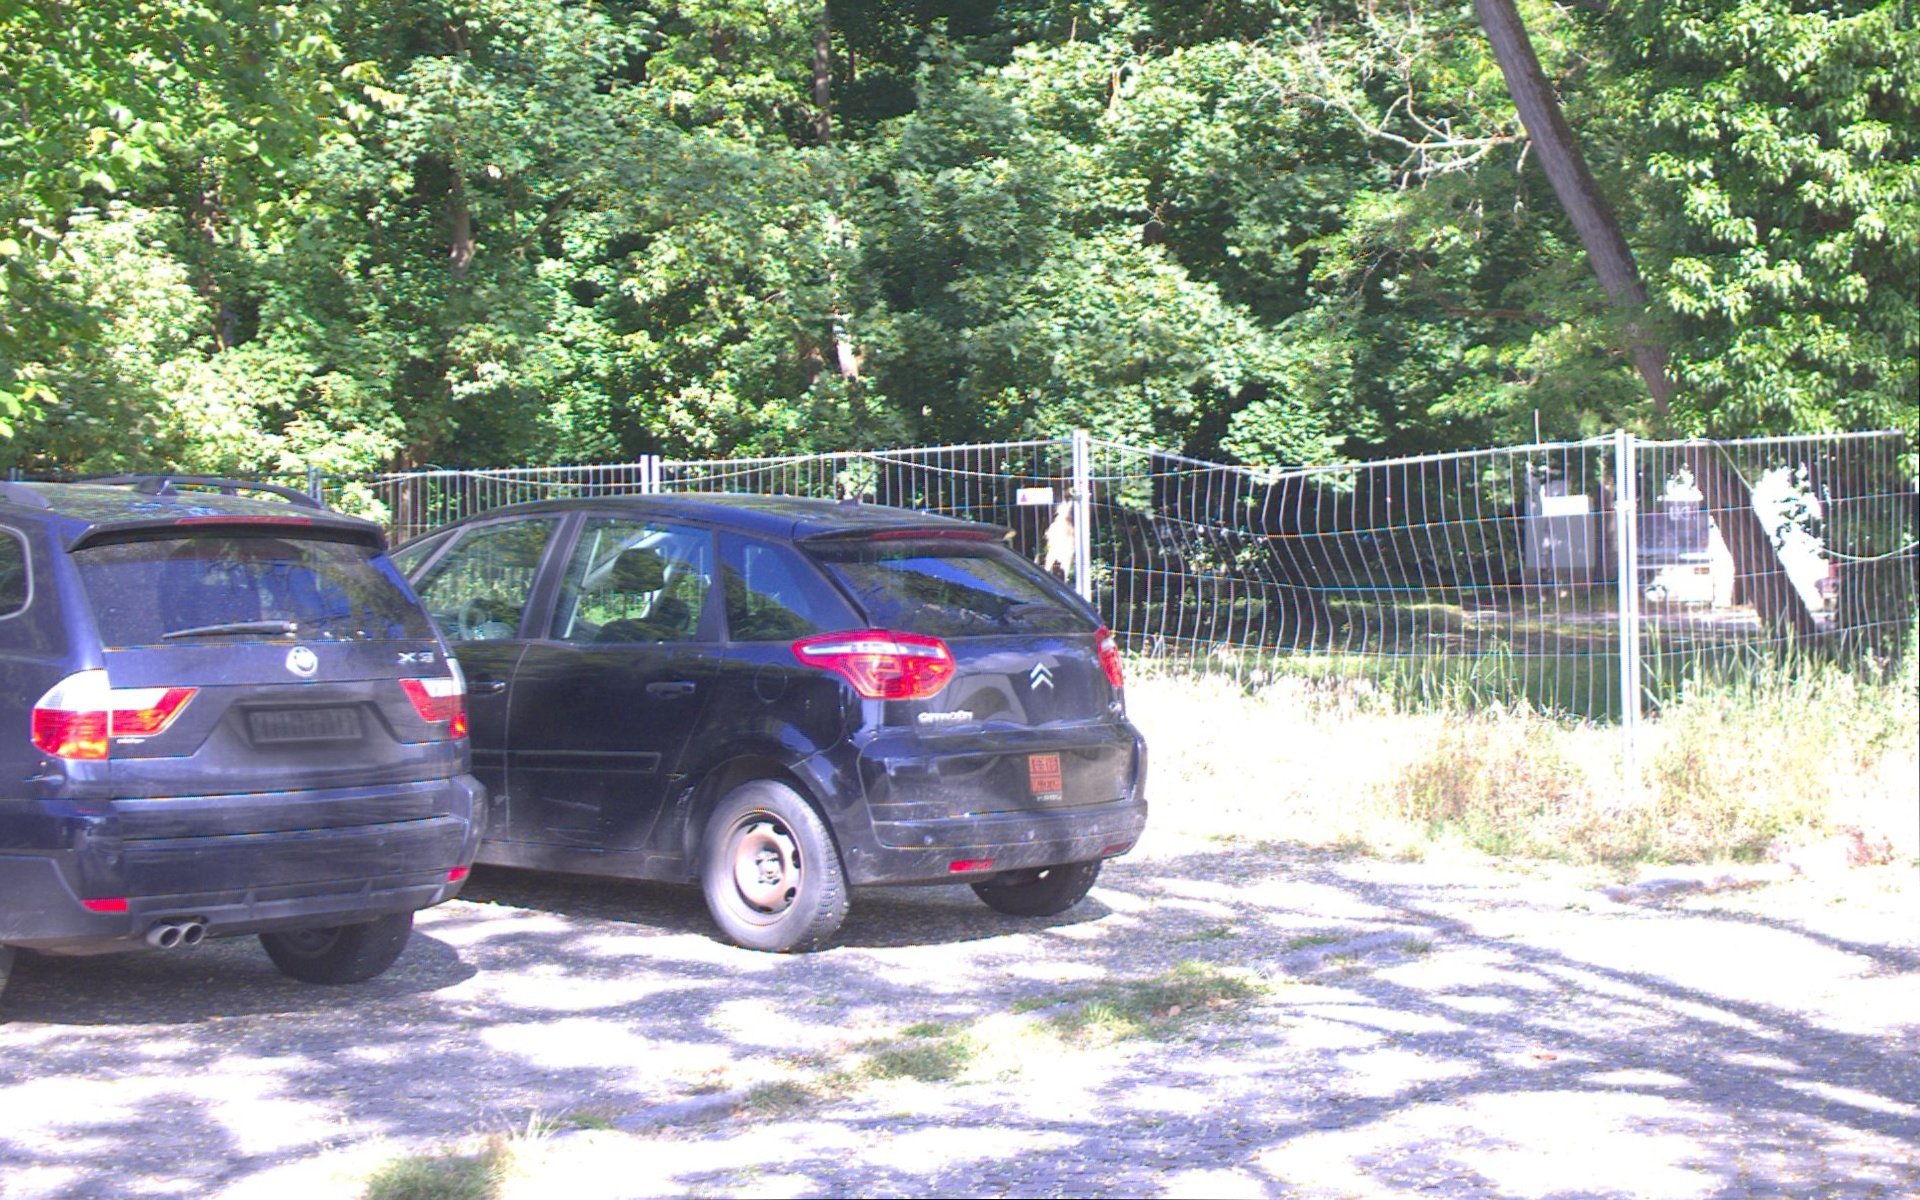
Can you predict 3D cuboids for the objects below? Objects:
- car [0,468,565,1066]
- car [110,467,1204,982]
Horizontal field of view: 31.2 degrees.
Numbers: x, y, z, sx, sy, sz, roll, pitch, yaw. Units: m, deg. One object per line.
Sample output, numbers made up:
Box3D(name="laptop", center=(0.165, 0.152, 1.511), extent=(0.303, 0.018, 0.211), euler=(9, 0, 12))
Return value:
Box3D(name="car", center=(-3.506, 0.372, 11.675), extent=(4.270, 1.625, 1.876), euler=(4, 3, 41))
Box3D(name="car", center=(-1.324, 0.357, 13.833), extent=(4.269, 1.583, 1.826), euler=(5, 4, 39))
